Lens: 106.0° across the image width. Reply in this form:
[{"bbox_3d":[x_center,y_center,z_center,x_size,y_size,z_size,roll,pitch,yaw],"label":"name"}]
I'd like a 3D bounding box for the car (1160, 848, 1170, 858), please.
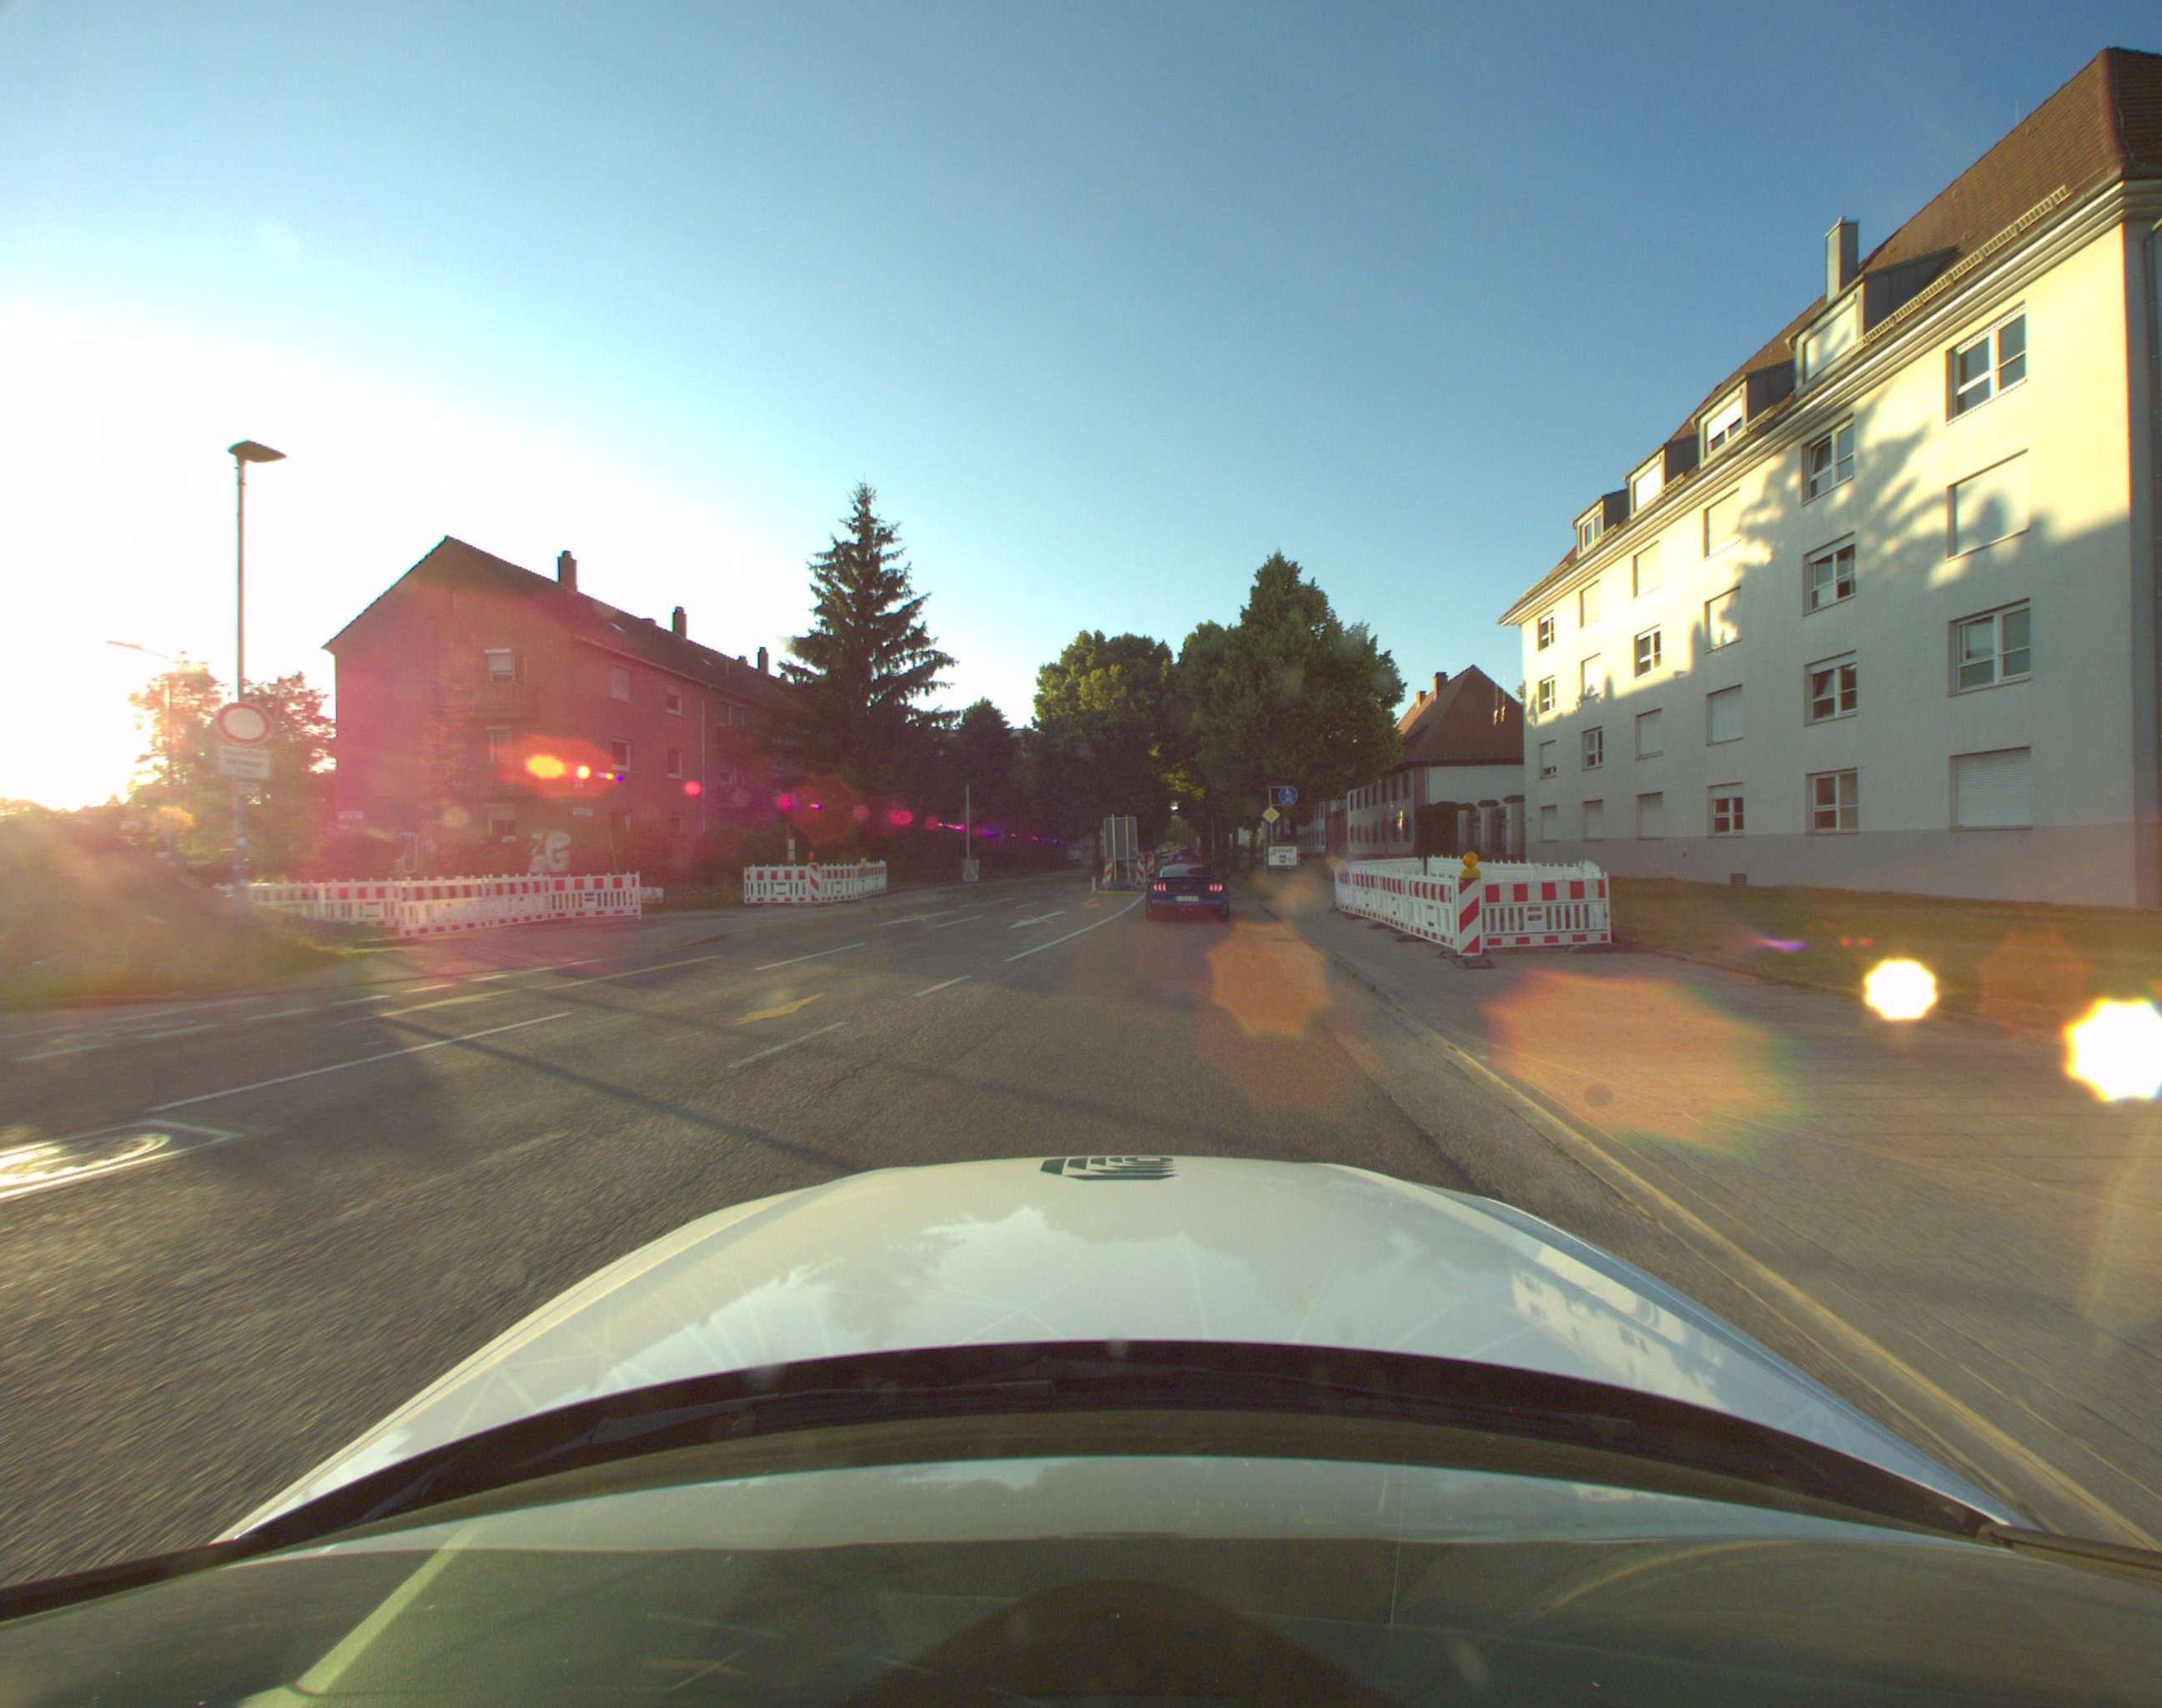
[{"bbox_3d":[22.028,-0.270,214.364,2.479,2.697,5.841,-1,0,7],"label":"car"}]

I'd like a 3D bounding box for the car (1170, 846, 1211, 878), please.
[{"bbox_3d":[5.603,0.366,41.368,1.935,1.527,4.010,1,0,9],"label":"car"}]

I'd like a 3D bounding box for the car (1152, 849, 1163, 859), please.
[{"bbox_3d":[19.188,-0.014,203.039,2.322,2.198,5.322,-1,0,9],"label":"car"}]

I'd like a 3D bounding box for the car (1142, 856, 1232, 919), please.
[{"bbox_3d":[2.568,0.729,19.842,1.936,1.326,4.008,1,0,7],"label":"car"}]

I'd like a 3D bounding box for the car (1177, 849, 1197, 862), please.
[{"bbox_3d":[11.201,0.156,85.546,1.935,1.326,4.010,1,0,9],"label":"car"}]
